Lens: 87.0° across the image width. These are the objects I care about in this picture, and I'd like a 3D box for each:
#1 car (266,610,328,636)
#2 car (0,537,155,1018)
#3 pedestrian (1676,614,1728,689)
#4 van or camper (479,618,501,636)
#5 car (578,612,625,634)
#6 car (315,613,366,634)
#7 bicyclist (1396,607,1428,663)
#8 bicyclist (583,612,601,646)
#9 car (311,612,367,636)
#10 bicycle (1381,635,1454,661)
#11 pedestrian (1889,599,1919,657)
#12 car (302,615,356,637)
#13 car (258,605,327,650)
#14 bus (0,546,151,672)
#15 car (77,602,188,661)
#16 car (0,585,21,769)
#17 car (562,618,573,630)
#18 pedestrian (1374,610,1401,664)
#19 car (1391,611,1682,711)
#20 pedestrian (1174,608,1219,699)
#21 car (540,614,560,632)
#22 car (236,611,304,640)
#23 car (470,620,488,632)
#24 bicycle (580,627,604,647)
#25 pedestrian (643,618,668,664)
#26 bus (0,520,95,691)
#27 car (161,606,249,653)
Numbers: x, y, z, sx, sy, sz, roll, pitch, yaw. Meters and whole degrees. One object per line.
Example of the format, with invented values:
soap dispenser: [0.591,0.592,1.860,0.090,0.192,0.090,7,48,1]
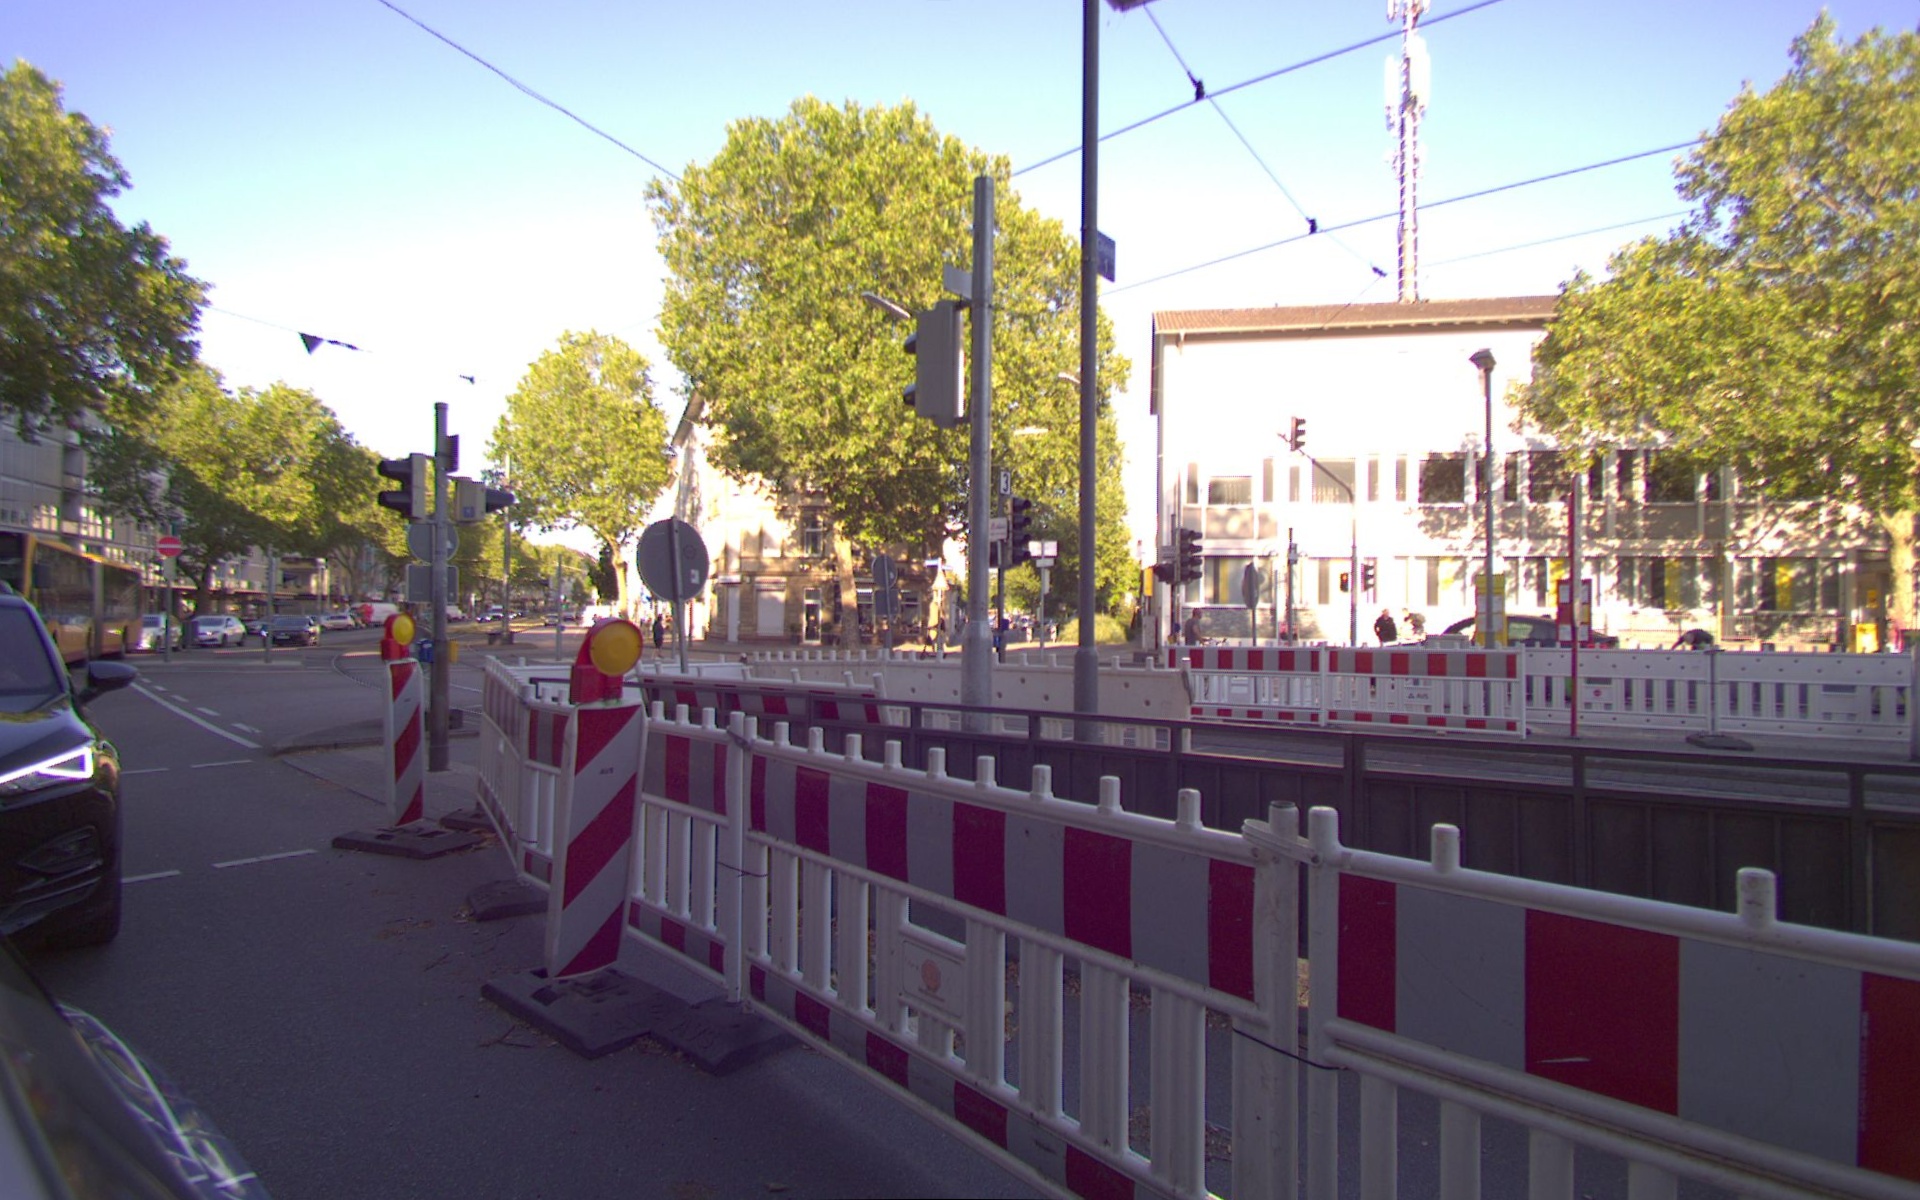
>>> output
car: [-53.848,1.867,82.242,3.938,2.029,2.002,1,-2,-42]
car: [-5.246,0.645,4.570,3.998,1.719,1.818,-1,-2,41]
pedestrian: [18.539,1.267,25.306,0.923,1.847,0.693,-1,-2,28]
van or camper: [-75.732,4.312,163.157,2.385,2.739,6.151,1,-1,-18]
car: [-34.263,2.211,96.746,1.990,2.029,3.963,0,-2,27]
car: [-60.074,2.275,98.207,3.938,2.029,2.002,1,-2,-42]
bicyclist: [14.135,1.092,31.672,0.757,1.741,0.671,0,-2,13]
bicyclist: [-22.142,1.746,60.854,0.841,2.029,0.986,1,-2,-30]
car: [-55.127,2.131,89.922,3.938,2.029,2.002,1,-2,-42]
bicycle: [14.288,1.497,31.634,1.971,0.788,0.678,0,-1,13]
pedestrian: [24.120,0.704,25.708,0.582,1.466,0.582,0,-2,23]
car: [-58.582,2.390,93.965,3.938,2.029,2.002,1,-2,-42]
car: [-31.431,1.301,47.779,1.965,2.029,4.013,1,-1,-22]
bus: [-25.676,0.297,28.988,2.676,3.130,8.622,1,-2,-31]
car: [-30.603,1.151,37.573,1.965,2.029,4.111,1,-1,-21]
car: [-10.740,0.698,9.812,4.073,1.656,1.973,-1,-2,41]
car: [-65.364,4.016,168.632,1.661,1.866,4.013,1,-1,-20]
pedestrian: [12.381,1.063,29.296,0.649,1.564,0.563,-1,-2,28]
car: [10.783,1.062,19.088,4.552,1.674,1.974,-1,-2,38]
pedestrian: [4.662,1.046,19.973,0.545,1.760,0.693,1,-2,-24]
car: [-46.634,2.656,115.248,1.965,2.029,4.013,1,-1,-20]
car: [-50.661,1.875,74.397,3.932,2.029,2.006,1,-2,-32]
car: [-67.779,3.645,142.679,1.809,1.715,4.143,1,-2,-19]
bicycle: [-22.125,2.209,60.821,0.837,1.202,2.473,1,-2,-31]
pedestrian: [-10.413,1.407,34.611,0.594,1.545,0.746,1,-2,-38]
bus: [-20.762,0.154,21.681,2.678,3.130,8.641,1,-2,-36]
car: [-34.637,1.340,46.547,1.966,2.029,4.012,1,-1,-17]
